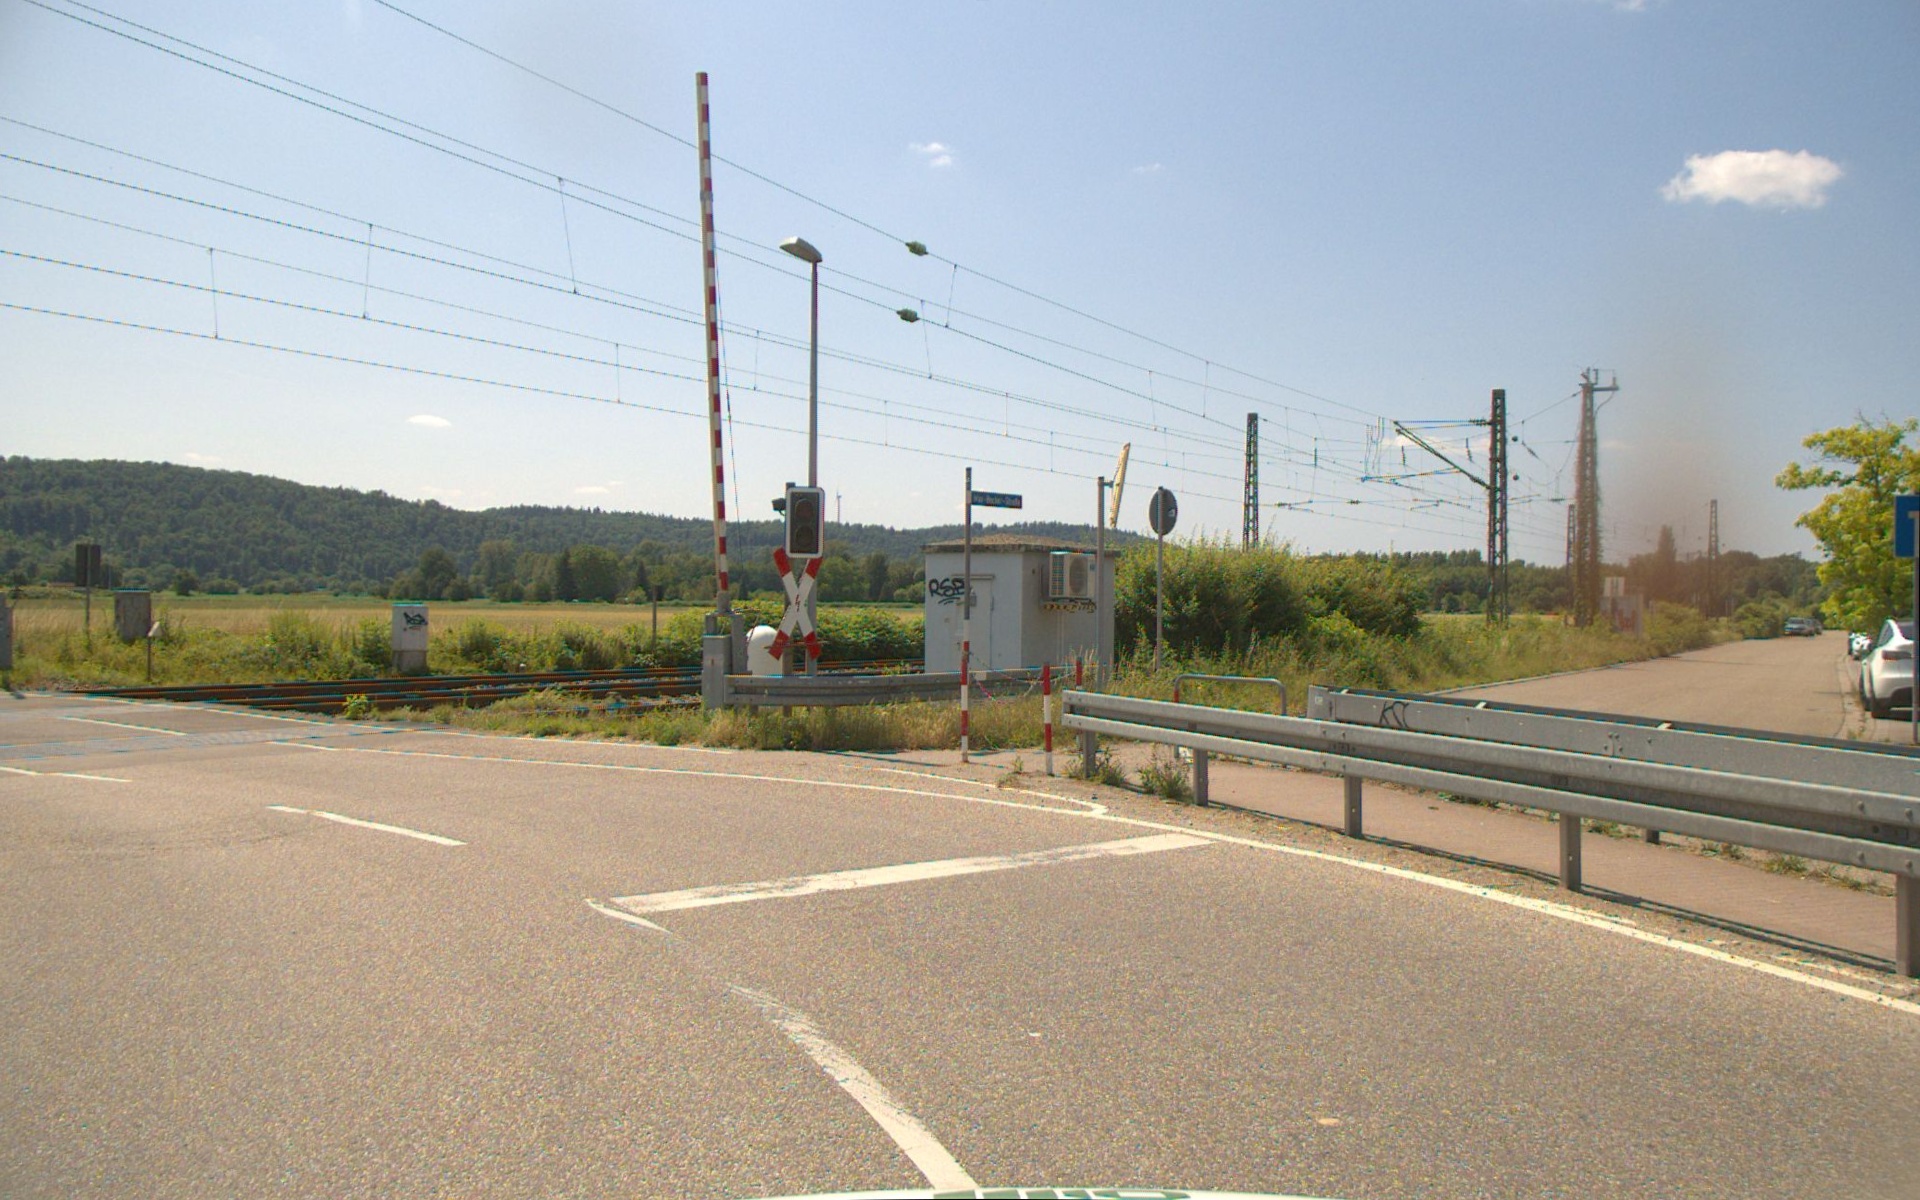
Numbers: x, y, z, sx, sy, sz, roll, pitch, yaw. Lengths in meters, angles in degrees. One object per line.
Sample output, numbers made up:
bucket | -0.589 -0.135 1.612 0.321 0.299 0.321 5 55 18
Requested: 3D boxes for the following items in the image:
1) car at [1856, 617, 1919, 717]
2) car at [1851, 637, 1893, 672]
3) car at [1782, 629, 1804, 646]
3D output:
car | 16.243 1.070 27.732 1.955 1.536 4.450 1 0 26
car | 40.112 2.380 72.759 1.561 1.478 3.327 1 0 29
car | 74.849 3.354 148.672 1.615 1.504 2.896 1 -1 30
